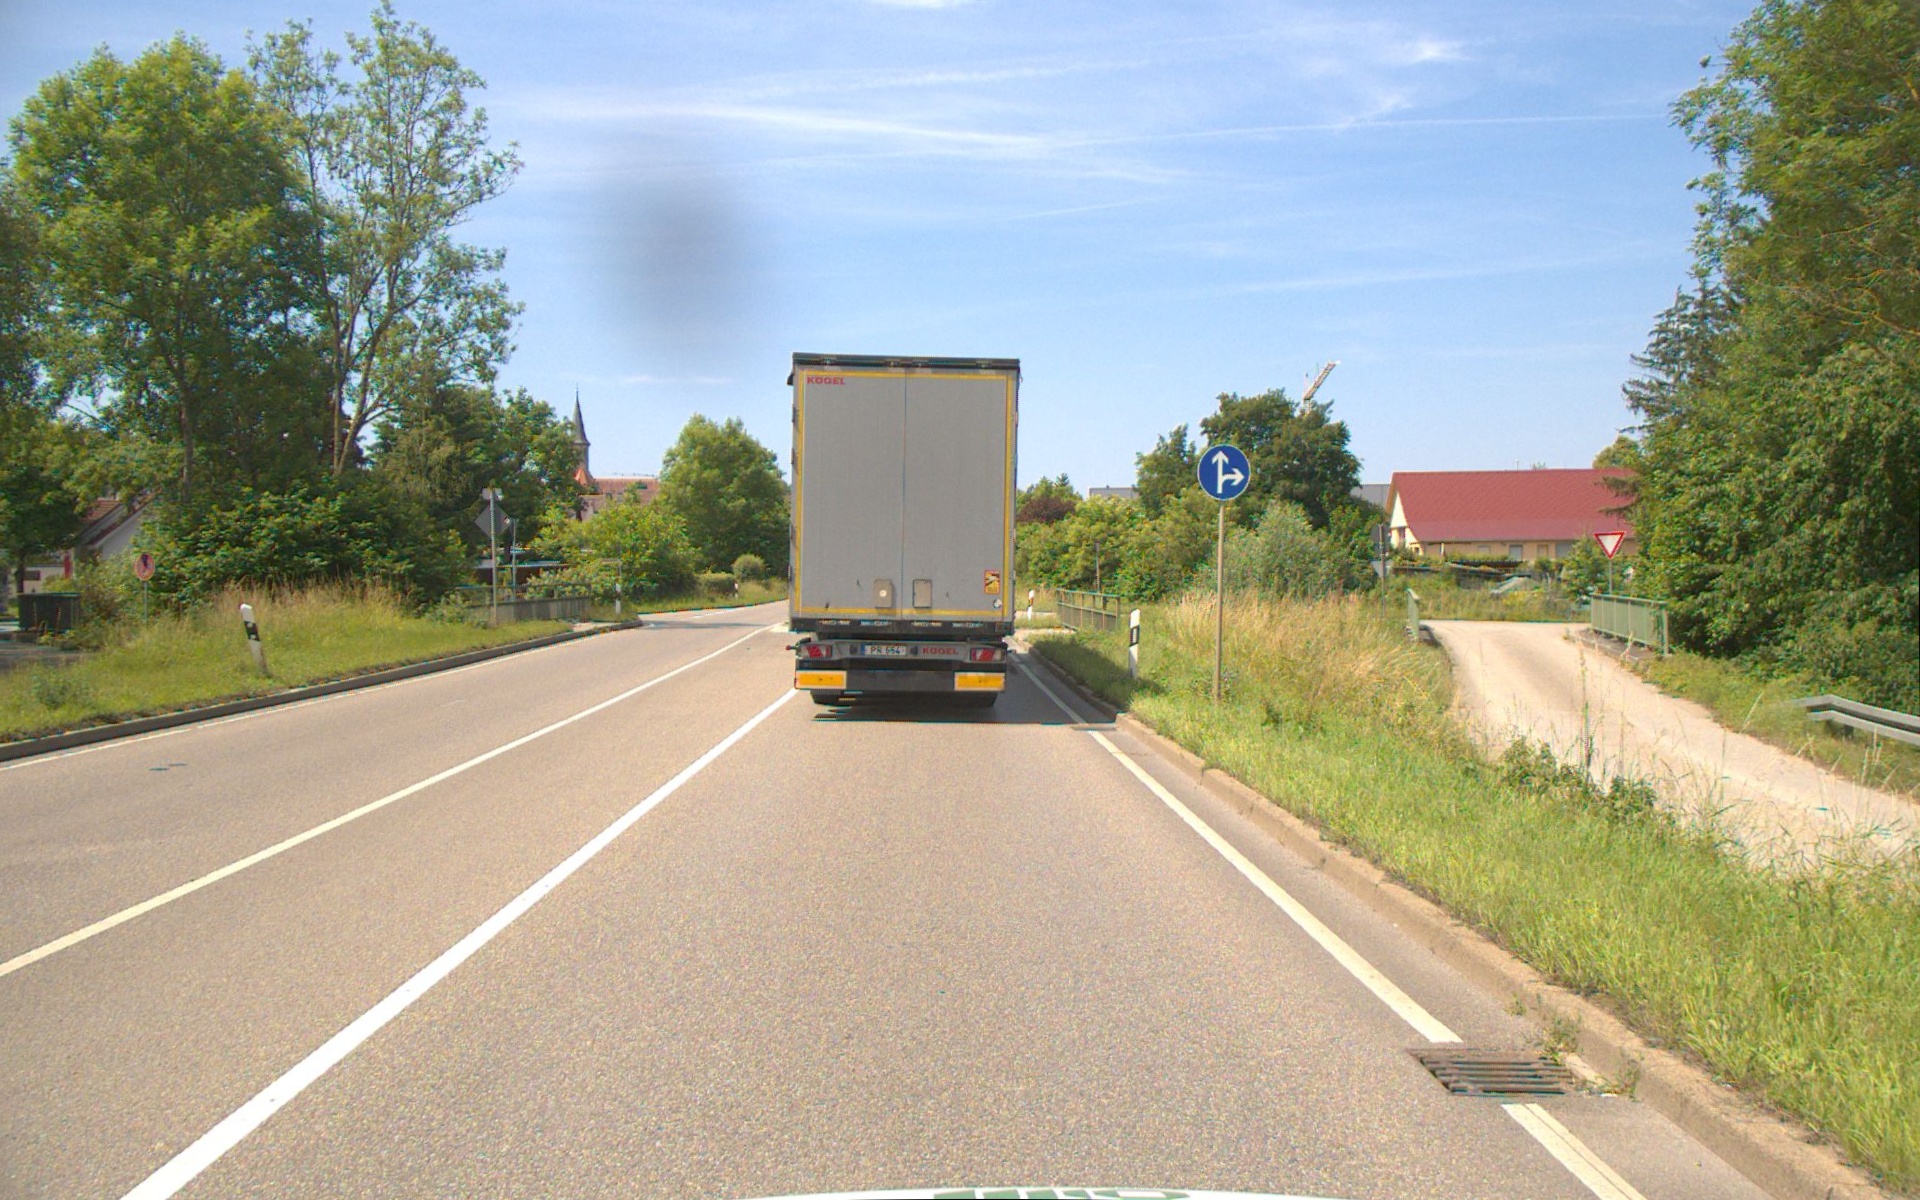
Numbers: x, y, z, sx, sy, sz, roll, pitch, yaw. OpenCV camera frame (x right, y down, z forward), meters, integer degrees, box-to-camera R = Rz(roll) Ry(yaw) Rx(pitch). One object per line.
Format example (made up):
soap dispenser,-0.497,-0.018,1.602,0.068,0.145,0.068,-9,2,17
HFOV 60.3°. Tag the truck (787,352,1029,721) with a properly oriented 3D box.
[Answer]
truck,-0.748,-0.743,22.506,2.594,3.985,8.821,1,1,-2
